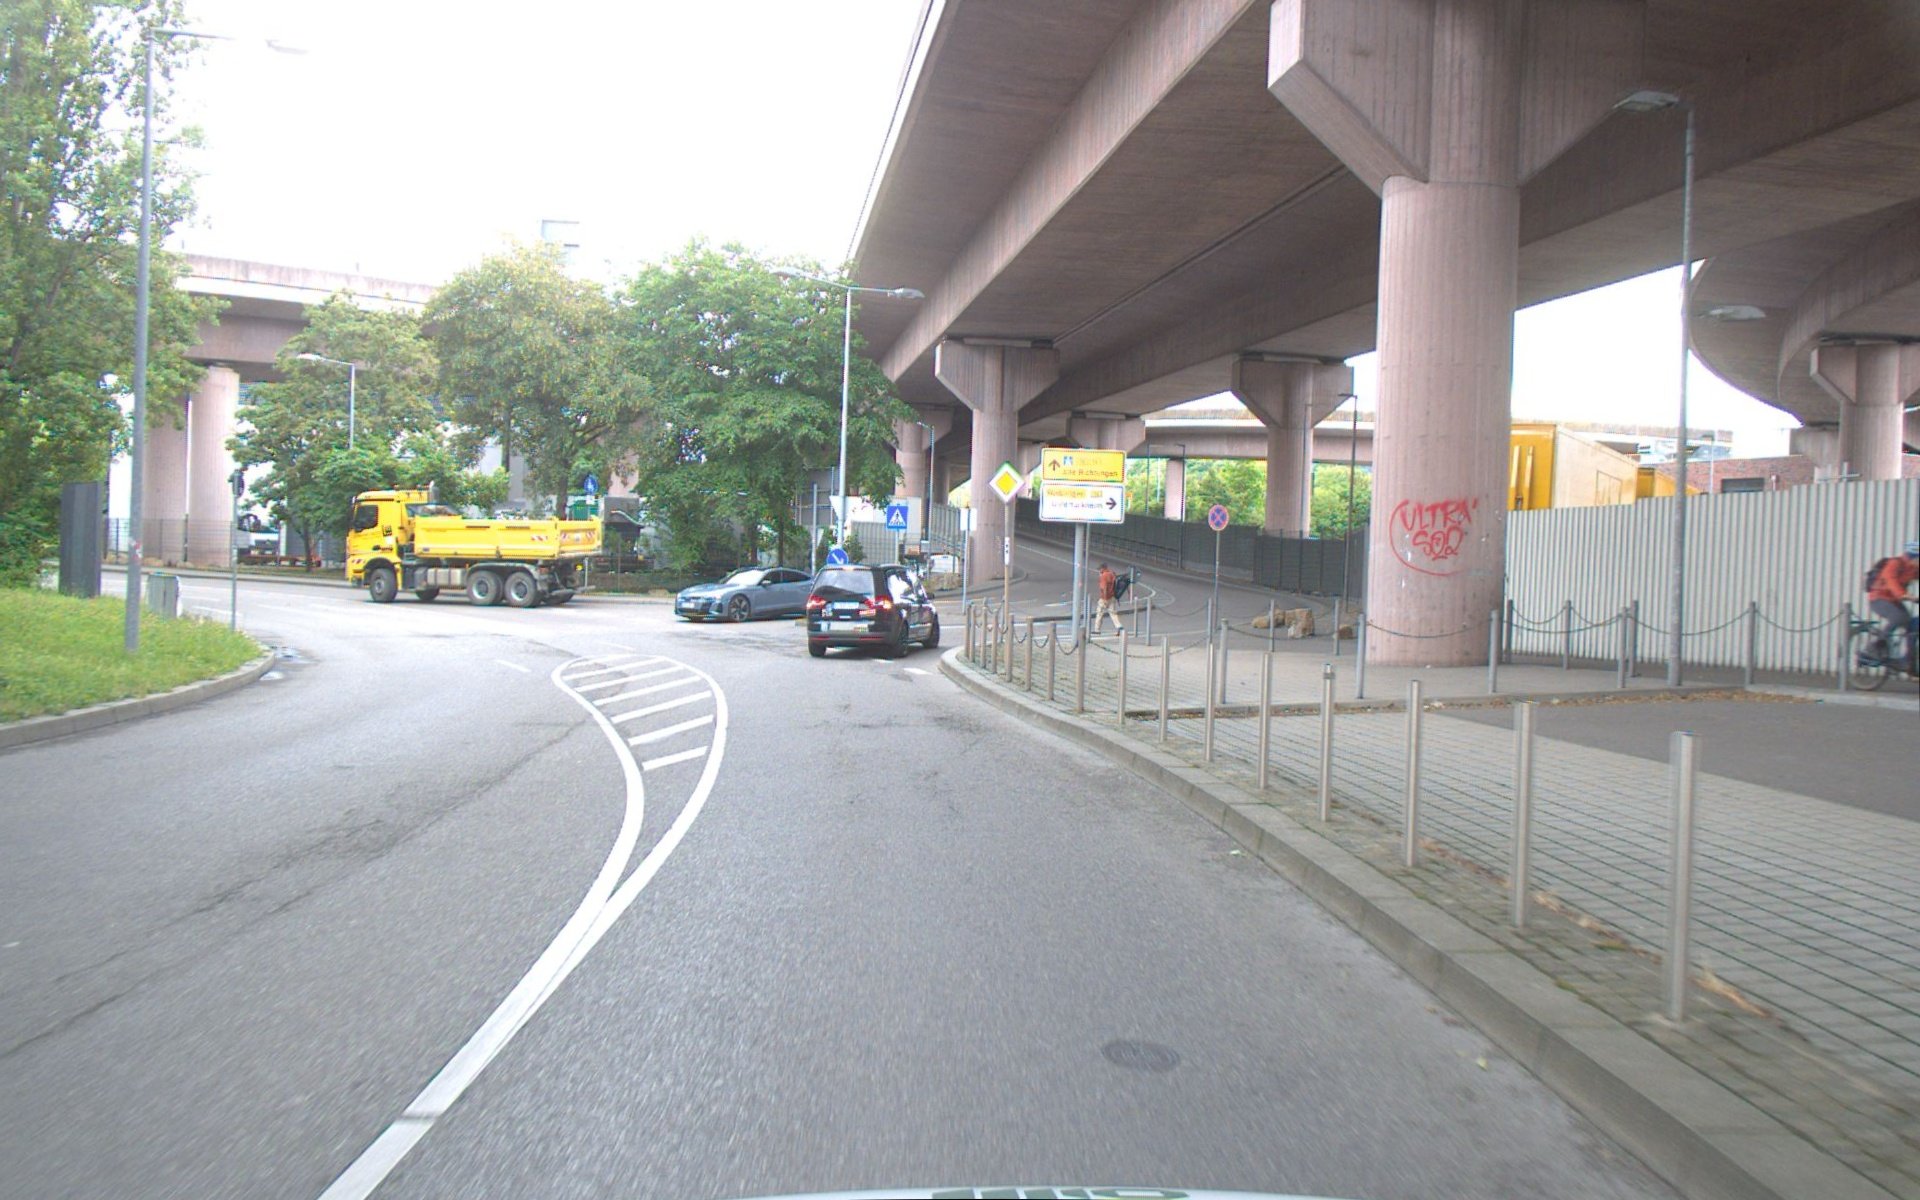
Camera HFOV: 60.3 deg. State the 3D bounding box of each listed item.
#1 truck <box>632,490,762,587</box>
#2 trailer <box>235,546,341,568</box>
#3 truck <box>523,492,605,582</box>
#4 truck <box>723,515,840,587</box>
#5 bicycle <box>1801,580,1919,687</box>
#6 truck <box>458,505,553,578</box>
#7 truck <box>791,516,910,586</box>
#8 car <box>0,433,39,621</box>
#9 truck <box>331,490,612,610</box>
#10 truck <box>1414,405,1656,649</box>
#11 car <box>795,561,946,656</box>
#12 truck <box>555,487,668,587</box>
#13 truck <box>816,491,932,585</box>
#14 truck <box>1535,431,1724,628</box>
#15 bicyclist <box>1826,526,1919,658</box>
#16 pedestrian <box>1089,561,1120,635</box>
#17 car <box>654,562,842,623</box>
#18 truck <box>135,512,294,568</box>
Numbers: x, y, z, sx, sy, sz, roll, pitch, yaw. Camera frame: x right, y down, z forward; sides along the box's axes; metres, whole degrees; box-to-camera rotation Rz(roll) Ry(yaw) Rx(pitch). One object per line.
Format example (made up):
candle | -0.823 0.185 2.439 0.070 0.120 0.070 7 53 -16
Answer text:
truck | -11.406 -2.710 70.924 3.032 3.934 7.974 0 3 -29
trailer | -31.118 -2.020 76.489 6.184 0.756 2.143 3 6 42
truck | -22.541 -3.642 93.751 3.161 4.862 7.991 0 3 -24
truck | -7.960 -2.223 72.927 2.883 2.948 6.498 0 3 -29
bicycle | 10.448 0.352 18.379 0.788 1.116 2.124 0 1 -13
truck | -24.712 -3.247 89.669 3.024 3.681 7.836 0 3 -30
truck | -5.023 -2.251 74.618 2.883 2.948 6.498 0 3 -29
car | -17.132 -1.201 24.002 6.052 2.772 2.367 3 1 -3
truck | -15.176 -1.653 51.514 8.044 3.541 2.939 1 4 17
truck | 13.519 -1.538 38.340 3.083 5.003 8.690 2 1 34
car | -1.642 0.113 32.136 1.951 1.708 4.565 0 1 10
truck | -14.917 -2.708 70.476 3.029 4.031 6.865 -2 3 -27
truck | -4.353 -3.132 81.880 3.026 4.373 7.990 0 3 -24
truck | 18.934 -1.836 46.392 3.083 4.988 8.690 2 1 34
bicyclist | 10.420 -0.104 18.510 0.782 1.430 1.063 0 1 -13
pedestrian | 3.388 -0.055 38.837 0.528 1.705 0.555 -1 2 -20
car | -5.634 -0.245 44.478 2.133 1.528 4.906 2 2 40
truck | -36.921 -2.974 81.923 7.054 2.596 2.727 1 1 15
